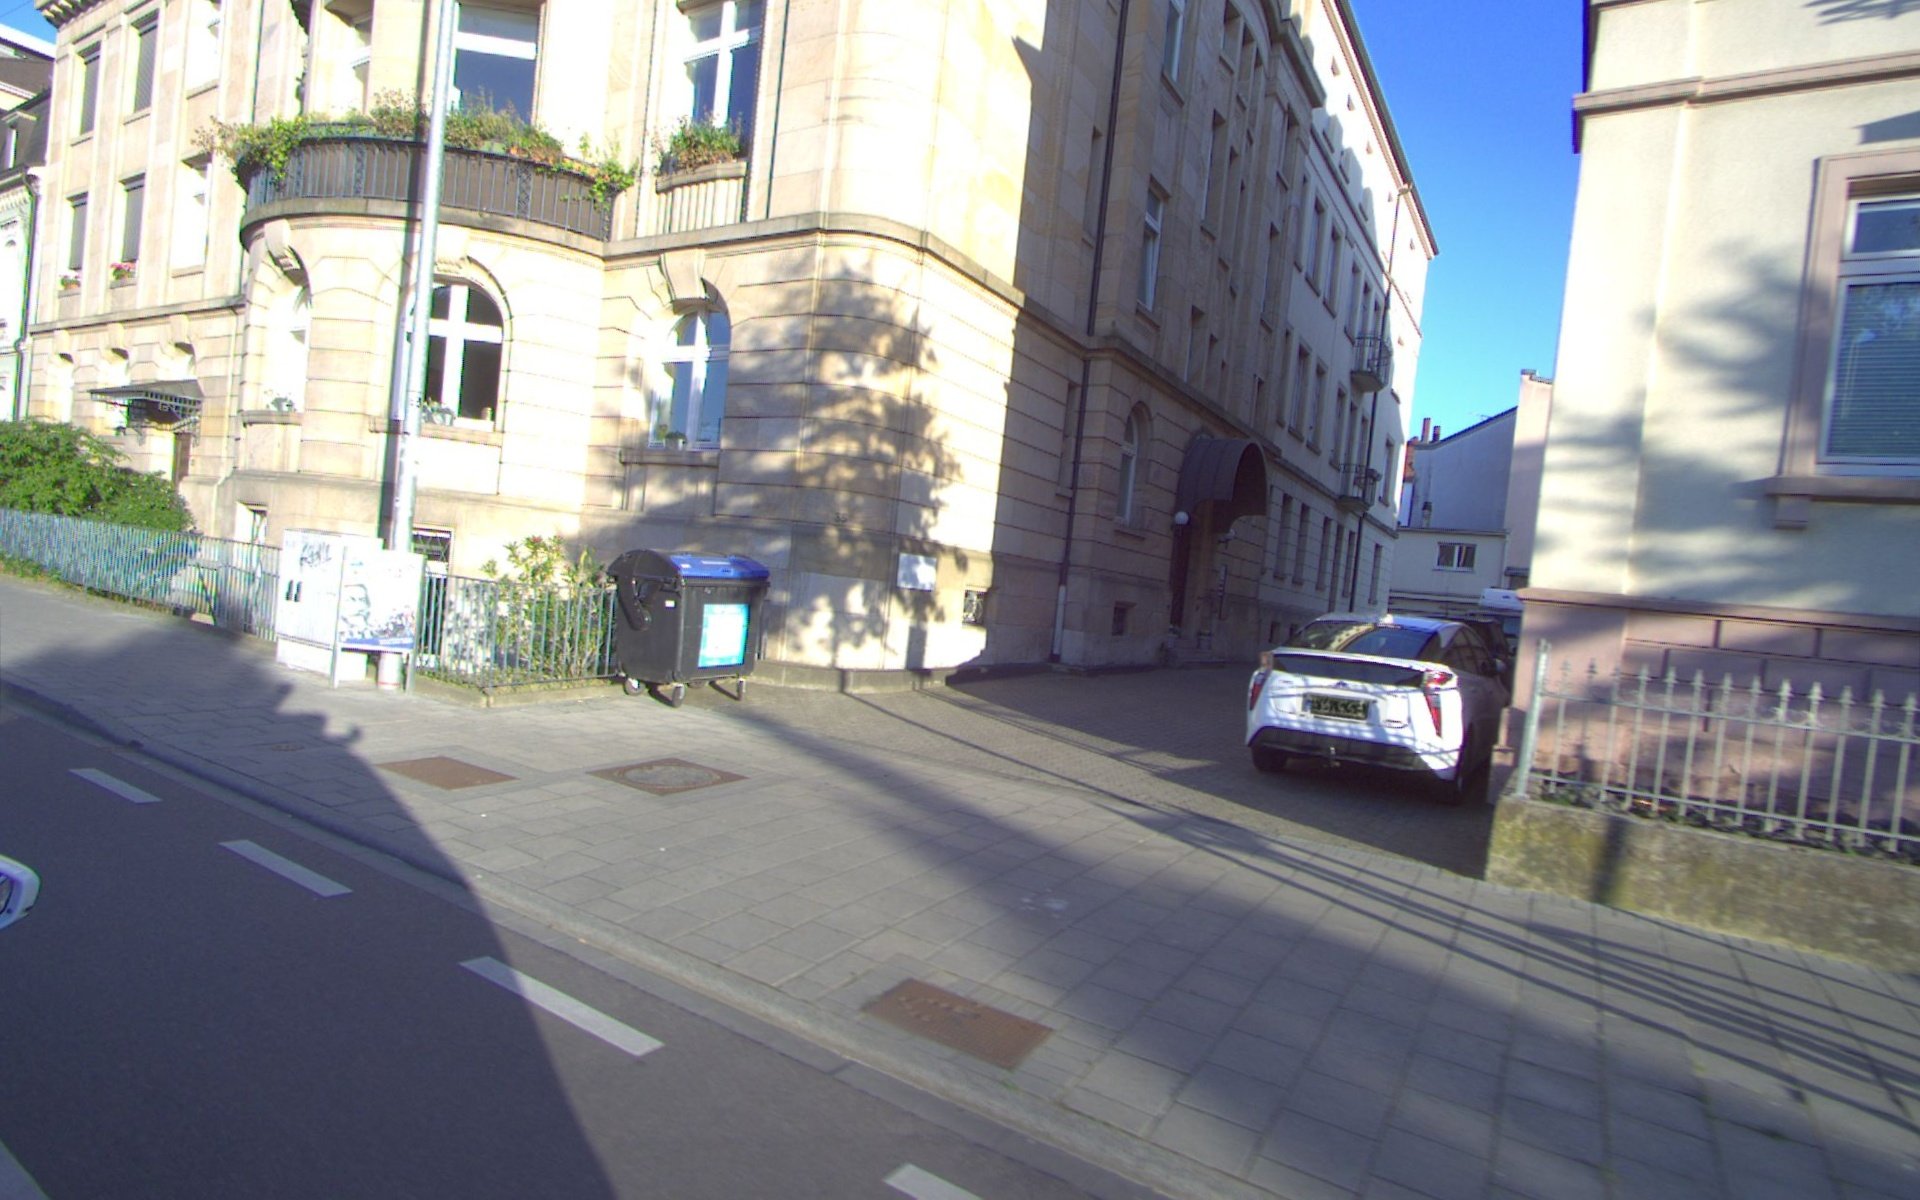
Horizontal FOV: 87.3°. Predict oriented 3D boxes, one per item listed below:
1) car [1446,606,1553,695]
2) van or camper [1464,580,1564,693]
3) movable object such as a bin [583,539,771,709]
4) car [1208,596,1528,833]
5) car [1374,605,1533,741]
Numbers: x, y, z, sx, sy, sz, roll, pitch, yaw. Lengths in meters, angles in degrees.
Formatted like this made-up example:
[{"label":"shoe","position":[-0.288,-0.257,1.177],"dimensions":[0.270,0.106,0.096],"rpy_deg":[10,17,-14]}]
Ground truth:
[{"label":"car","position":[13.575,1.301,25.203],"dimensions":[1.786,1.872,4.125],"rpy_deg":[7,0,34]},{"label":"van or camper","position":[18.529,1.298,33.511],"dimensions":[2.373,3.204,6.211],"rpy_deg":[7,0,31]},{"label":"movable object such as a bin","position":[-2.784,0.238,9.982],"dimensions":[1.104,1.480,1.262],"rpy_deg":[7,1,28]},{"label":"car","position":[4.104,0.851,9.670],"dimensions":[1.886,1.593,4.190],"rpy_deg":[7,4,34]},{"label":"car","position":[6.938,0.942,13.977],"dimensions":[1.473,1.503,3.549],"rpy_deg":[7,2,32]}]
